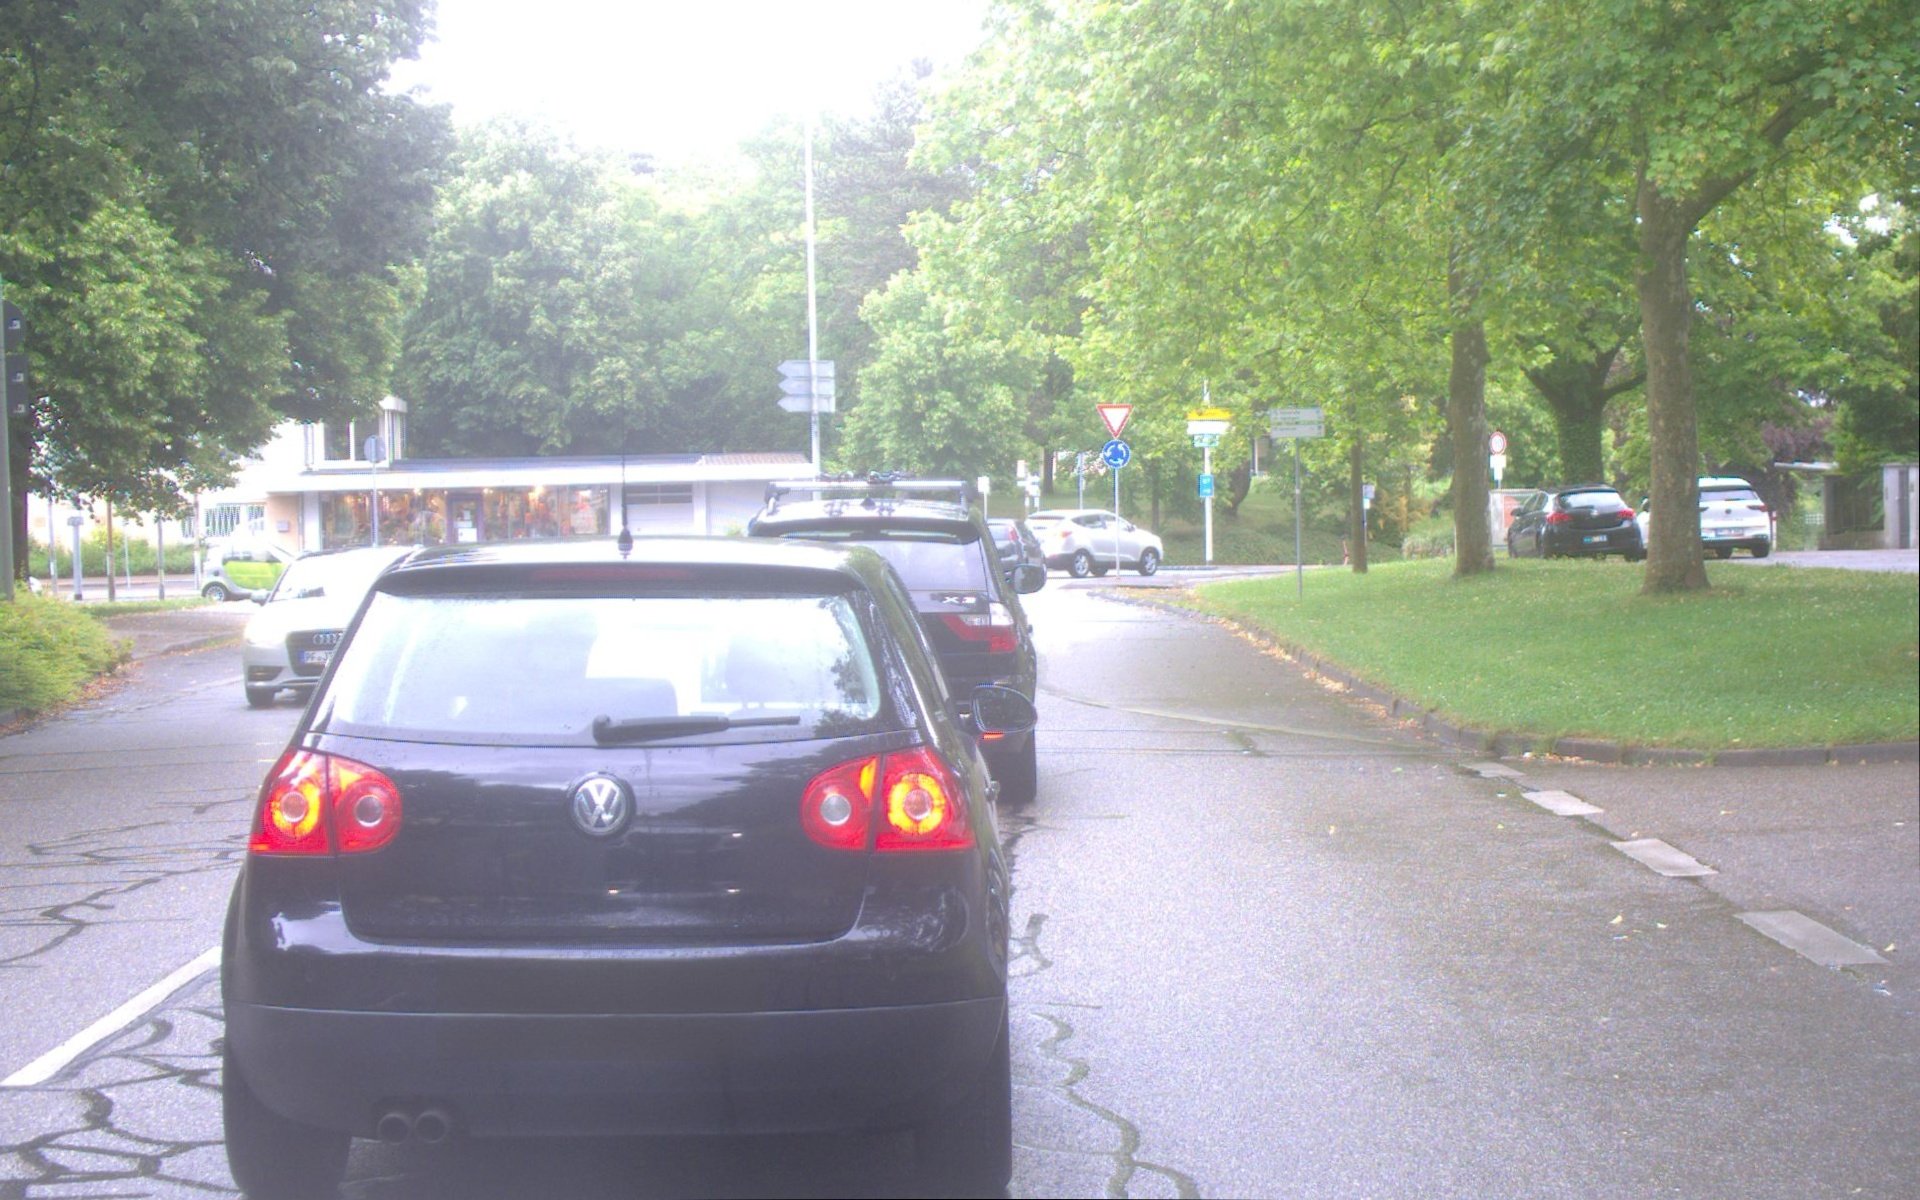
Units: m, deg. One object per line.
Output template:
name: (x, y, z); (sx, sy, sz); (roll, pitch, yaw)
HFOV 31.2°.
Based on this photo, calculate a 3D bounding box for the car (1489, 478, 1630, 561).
car: (10.972, -1.484, 63.154); (1.803, 1.381, 4.000); (-3, 2, 0)

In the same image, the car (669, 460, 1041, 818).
car: (-0.527, 0.153, 19.483); (1.855, 1.778, 4.000); (-1, 1, 0)

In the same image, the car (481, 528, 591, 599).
car: (-9.126, -0.785, 73.784); (1.796, 1.388, 3.980); (-3, 1, -14)

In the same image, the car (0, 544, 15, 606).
car: (-24.230, -0.499, 79.359); (4.494, 1.414, 1.848); (-3, 1, -19)

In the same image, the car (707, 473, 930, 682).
car: (-1.244, -0.223, 31.846); (1.855, 1.778, 4.000); (-1, 1, 0)

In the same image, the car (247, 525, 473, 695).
car: (-5.689, 0.046, 32.999); (1.608, 1.422, 4.009); (-2, 2, -3)

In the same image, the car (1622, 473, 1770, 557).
car: (13.501, -1.568, 63.264); (1.803, 1.401, 4.000); (-3, 2, 0)

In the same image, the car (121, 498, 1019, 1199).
car: (-0.775, 0.525, 8.768); (1.798, 1.510, 3.754); (0, 1, 0)

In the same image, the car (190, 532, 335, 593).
car: (-16.353, -0.894, 80.740); (3.119, 1.305, 1.540); (-2, 1, -4)

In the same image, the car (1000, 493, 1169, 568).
car: (3.105, -1.736, 85.248); (1.998, 1.700, 3.990); (-1, 2, 43)
